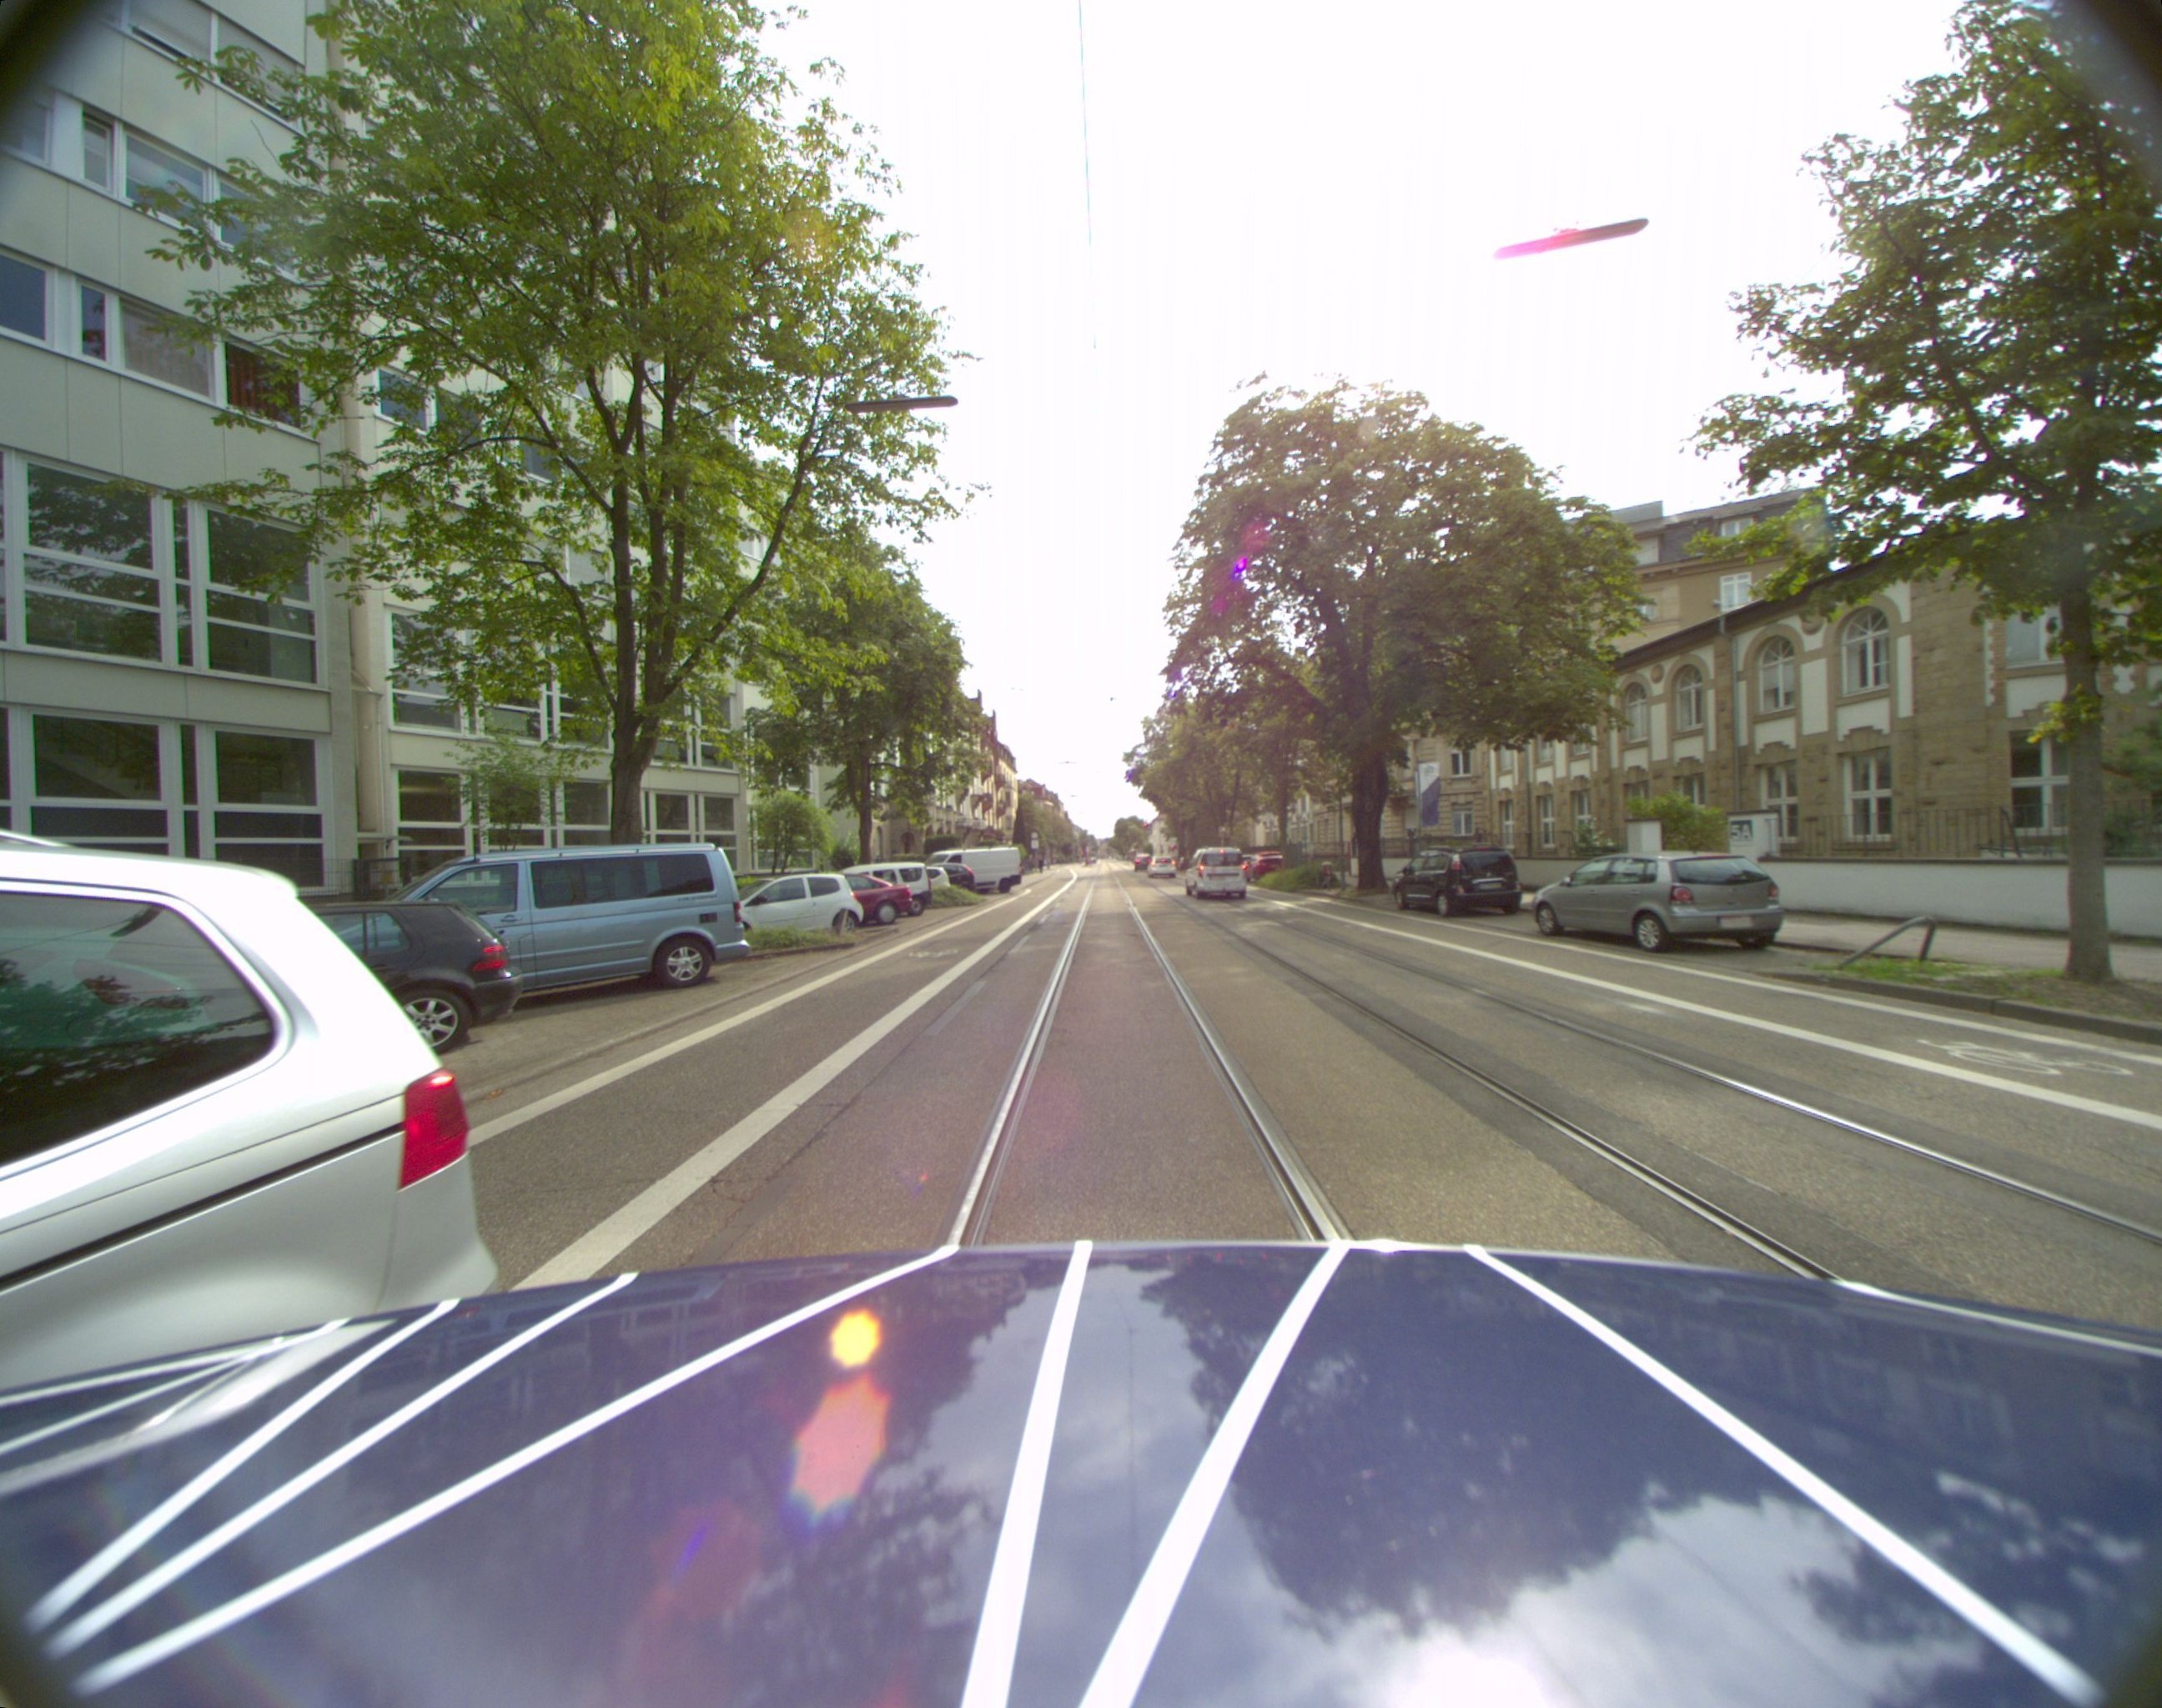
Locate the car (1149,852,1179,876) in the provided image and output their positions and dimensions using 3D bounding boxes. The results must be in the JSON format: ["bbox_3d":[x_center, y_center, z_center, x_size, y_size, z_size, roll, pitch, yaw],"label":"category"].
[{"bbox_3d":[5.743,0.650,53.157,1.736,1.603,4.334,-1,0,2],"label":"car"}]

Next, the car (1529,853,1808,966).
[{"bbox_3d":[8.909,0.738,11.941,1.632,1.456,3.574,-2,0,1],"label":"car"}]

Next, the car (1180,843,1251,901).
[{"bbox_3d":[4.801,0.610,27.692,1.736,1.873,4.378,-2,0,0],"label":"car"}]

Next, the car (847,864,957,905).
[{"bbox_3d":[-6.802,1.115,29.088,3.652,1.322,1.763,-3,1,-44],"label":"car"}]

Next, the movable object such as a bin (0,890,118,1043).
[{"bbox_3d":[-12.163,1.243,8.372,1.334,1.586,1.354,-2,0,5],"label":"movable object such as a bin"}]

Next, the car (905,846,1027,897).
[{"bbox_3d":[-5.506,0.792,36.892,5.449,2.163,2.142,-2,1,-40],"label":"car"}]

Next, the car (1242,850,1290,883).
[{"bbox_3d":[9.995,0.656,41.258,1.658,1.624,3.906,-2,0,1],"label":"car"}]

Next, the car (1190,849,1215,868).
[{"bbox_3d":[10.845,0.366,67.865,1.658,1.624,3.906,-2,0,1],"label":"car"}]

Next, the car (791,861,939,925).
[{"bbox_3d":[-6.409,1.091,22.717,3.777,1.609,1.809,-3,1,-40],"label":"car"}]

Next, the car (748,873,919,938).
[{"bbox_3d":[-6.389,1.265,19.800,3.777,1.331,1.809,-2,1,-40],"label":"car"}]

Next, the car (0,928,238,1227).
[{"bbox_3d":[-6.963,1.259,3.579,3.869,1.385,1.629,-2,0,-45],"label":"car"}]

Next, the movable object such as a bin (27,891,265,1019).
[{"bbox_3d":[-12.110,1.266,9.923,1.334,1.450,1.400,-2,0,5],"label":"movable object such as a bin"}]

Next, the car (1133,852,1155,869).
[{"bbox_3d":[6.274,0.641,76.077,1.852,1.603,4.334,-2,0,1],"label":"car"}]

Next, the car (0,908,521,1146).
[{"bbox_3d":[-7.363,1.312,6.420,3.980,1.379,1.810,-3,-1,-44],"label":"car"}]

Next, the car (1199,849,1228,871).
[{"bbox_3d":[10.493,0.466,60.556,1.658,1.624,3.906,-2,0,1],"label":"car"}]

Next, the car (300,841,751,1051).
[{"bbox_3d":[-6.926,0.924,9.864,4.354,2.052,1.994,-2,0,-44],"label":"car"}]

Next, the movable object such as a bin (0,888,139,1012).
[{"bbox_3d":[-14.433,1.298,10.744,1.177,1.559,1.177,-2,1,30],"label":"movable object such as a bin"}]

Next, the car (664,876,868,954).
[{"bbox_3d":[-6.751,1.227,16.502,3.652,1.322,1.763,-3,1,-44],"label":"car"}]

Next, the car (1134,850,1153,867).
[{"bbox_3d":[7.136,0.543,87.406,1.799,1.813,4.678,-2,0,1],"label":"car"}]

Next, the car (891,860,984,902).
[{"bbox_3d":[-6.285,1.142,33.217,3.649,1.580,1.764,-2,1,-25],"label":"car"}]

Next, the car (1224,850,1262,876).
[{"bbox_3d":[10.599,0.545,50.014,1.658,1.592,3.906,-2,0,1],"label":"car"}]

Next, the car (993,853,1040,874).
[{"bbox_3d":[-5.548,0.774,65.488,3.649,1.666,1.764,-2,1,-25],"label":"car"}]

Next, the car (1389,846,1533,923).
[{"bbox_3d":[9.094,0.673,18.528,1.658,1.624,3.725,-2,0,1],"label":"car"}]
